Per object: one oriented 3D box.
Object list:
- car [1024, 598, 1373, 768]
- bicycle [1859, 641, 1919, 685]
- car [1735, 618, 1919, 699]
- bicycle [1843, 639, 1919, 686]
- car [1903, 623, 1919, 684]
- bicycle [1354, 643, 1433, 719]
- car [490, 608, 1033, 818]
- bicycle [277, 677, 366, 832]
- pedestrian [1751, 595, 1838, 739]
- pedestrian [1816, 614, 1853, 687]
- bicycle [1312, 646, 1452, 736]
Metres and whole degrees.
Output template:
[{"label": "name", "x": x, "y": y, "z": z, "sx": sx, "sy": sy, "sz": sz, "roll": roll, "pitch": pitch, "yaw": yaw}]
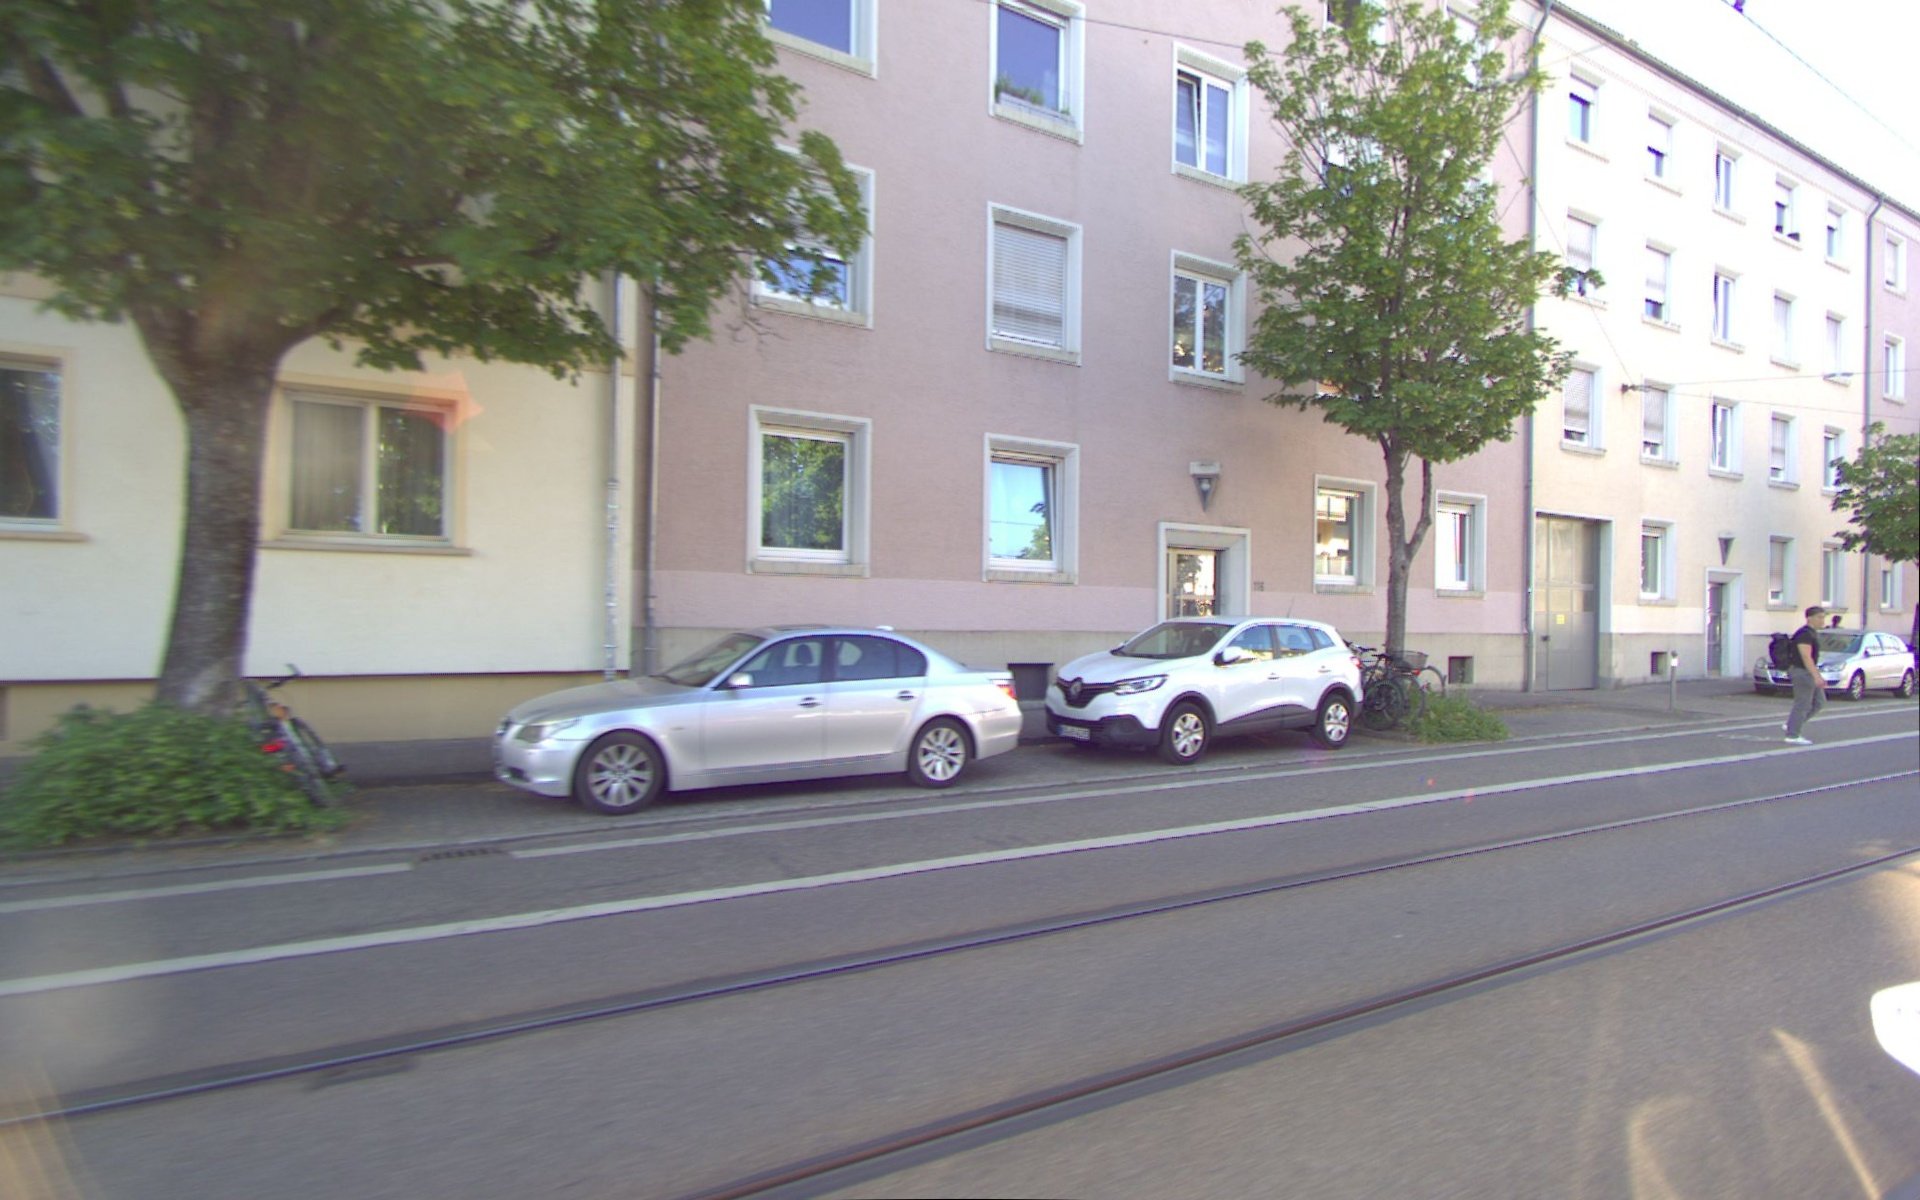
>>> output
[{"label": "car", "x": 2.954, "y": 0.881, "z": 12.051, "sx": 4.253, "sy": 1.690, "sz": 1.640, "roll": 1, "pitch": 1, "yaw": -35}, {"label": "bicycle", "x": 23.298, "y": 1.563, "z": 24.735, "sx": 0.473, "sy": 1.015, "sz": 1.652, "roll": 1, "pitch": 1, "yaw": -41}, {"label": "car", "x": 18.828, "y": 1.217, "z": 21.783, "sx": 4.142, "sy": 1.528, "sz": 1.799, "roll": 1, "pitch": 1, "yaw": -31}, {"label": "bicycle", "x": 22.360, "y": 1.502, "z": 24.133, "sx": 0.470, "sy": 1.015, "sz": 1.660, "roll": 1, "pitch": 1, "yaw": -27}, {"label": "car", "x": 26.500, "y": 1.408, "z": 26.003, "sx": 4.626, "sy": 1.528, "sz": 1.799, "roll": 1, "pitch": 1, "yaw": -31}, {"label": "bicycle", "x": 6.692, "y": 1.231, "z": 15.497, "sx": 1.423, "sy": 1.116, "sz": 0.327, "roll": 1, "pitch": 1, "yaw": -31}, {"label": "car", "x": -1.720, "y": 0.884, "z": 9.229, "sx": 4.604, "sy": 1.495, "sz": 1.681, "roll": 1, "pitch": 1, "yaw": -29}, {"label": "bicycle", "x": -4.824, "y": 1.098, "z": 7.663, "sx": 0.471, "sy": 0.836, "sz": 2.117, "roll": 1, "pitch": 1, "yaw": -30}, {"label": "pedestrian", "x": 10.912, "y": 0.848, "z": 13.158, "sx": 0.839, "sy": 1.800, "sz": 0.732, "roll": -1, "pitch": -1, "yaw": 40}, {"label": "pedestrian", "x": 22.685, "y": 1.311, "z": 26.068, "sx": 0.536, "sy": 1.850, "sz": 0.533, "roll": 1, "pitch": 1, "yaw": -31}, {"label": "bicycle", "x": 5.854, "y": 1.235, "z": 14.053, "sx": 0.471, "sy": 1.060, "sz": 1.916, "roll": 1, "pitch": 1, "yaw": -28}]
